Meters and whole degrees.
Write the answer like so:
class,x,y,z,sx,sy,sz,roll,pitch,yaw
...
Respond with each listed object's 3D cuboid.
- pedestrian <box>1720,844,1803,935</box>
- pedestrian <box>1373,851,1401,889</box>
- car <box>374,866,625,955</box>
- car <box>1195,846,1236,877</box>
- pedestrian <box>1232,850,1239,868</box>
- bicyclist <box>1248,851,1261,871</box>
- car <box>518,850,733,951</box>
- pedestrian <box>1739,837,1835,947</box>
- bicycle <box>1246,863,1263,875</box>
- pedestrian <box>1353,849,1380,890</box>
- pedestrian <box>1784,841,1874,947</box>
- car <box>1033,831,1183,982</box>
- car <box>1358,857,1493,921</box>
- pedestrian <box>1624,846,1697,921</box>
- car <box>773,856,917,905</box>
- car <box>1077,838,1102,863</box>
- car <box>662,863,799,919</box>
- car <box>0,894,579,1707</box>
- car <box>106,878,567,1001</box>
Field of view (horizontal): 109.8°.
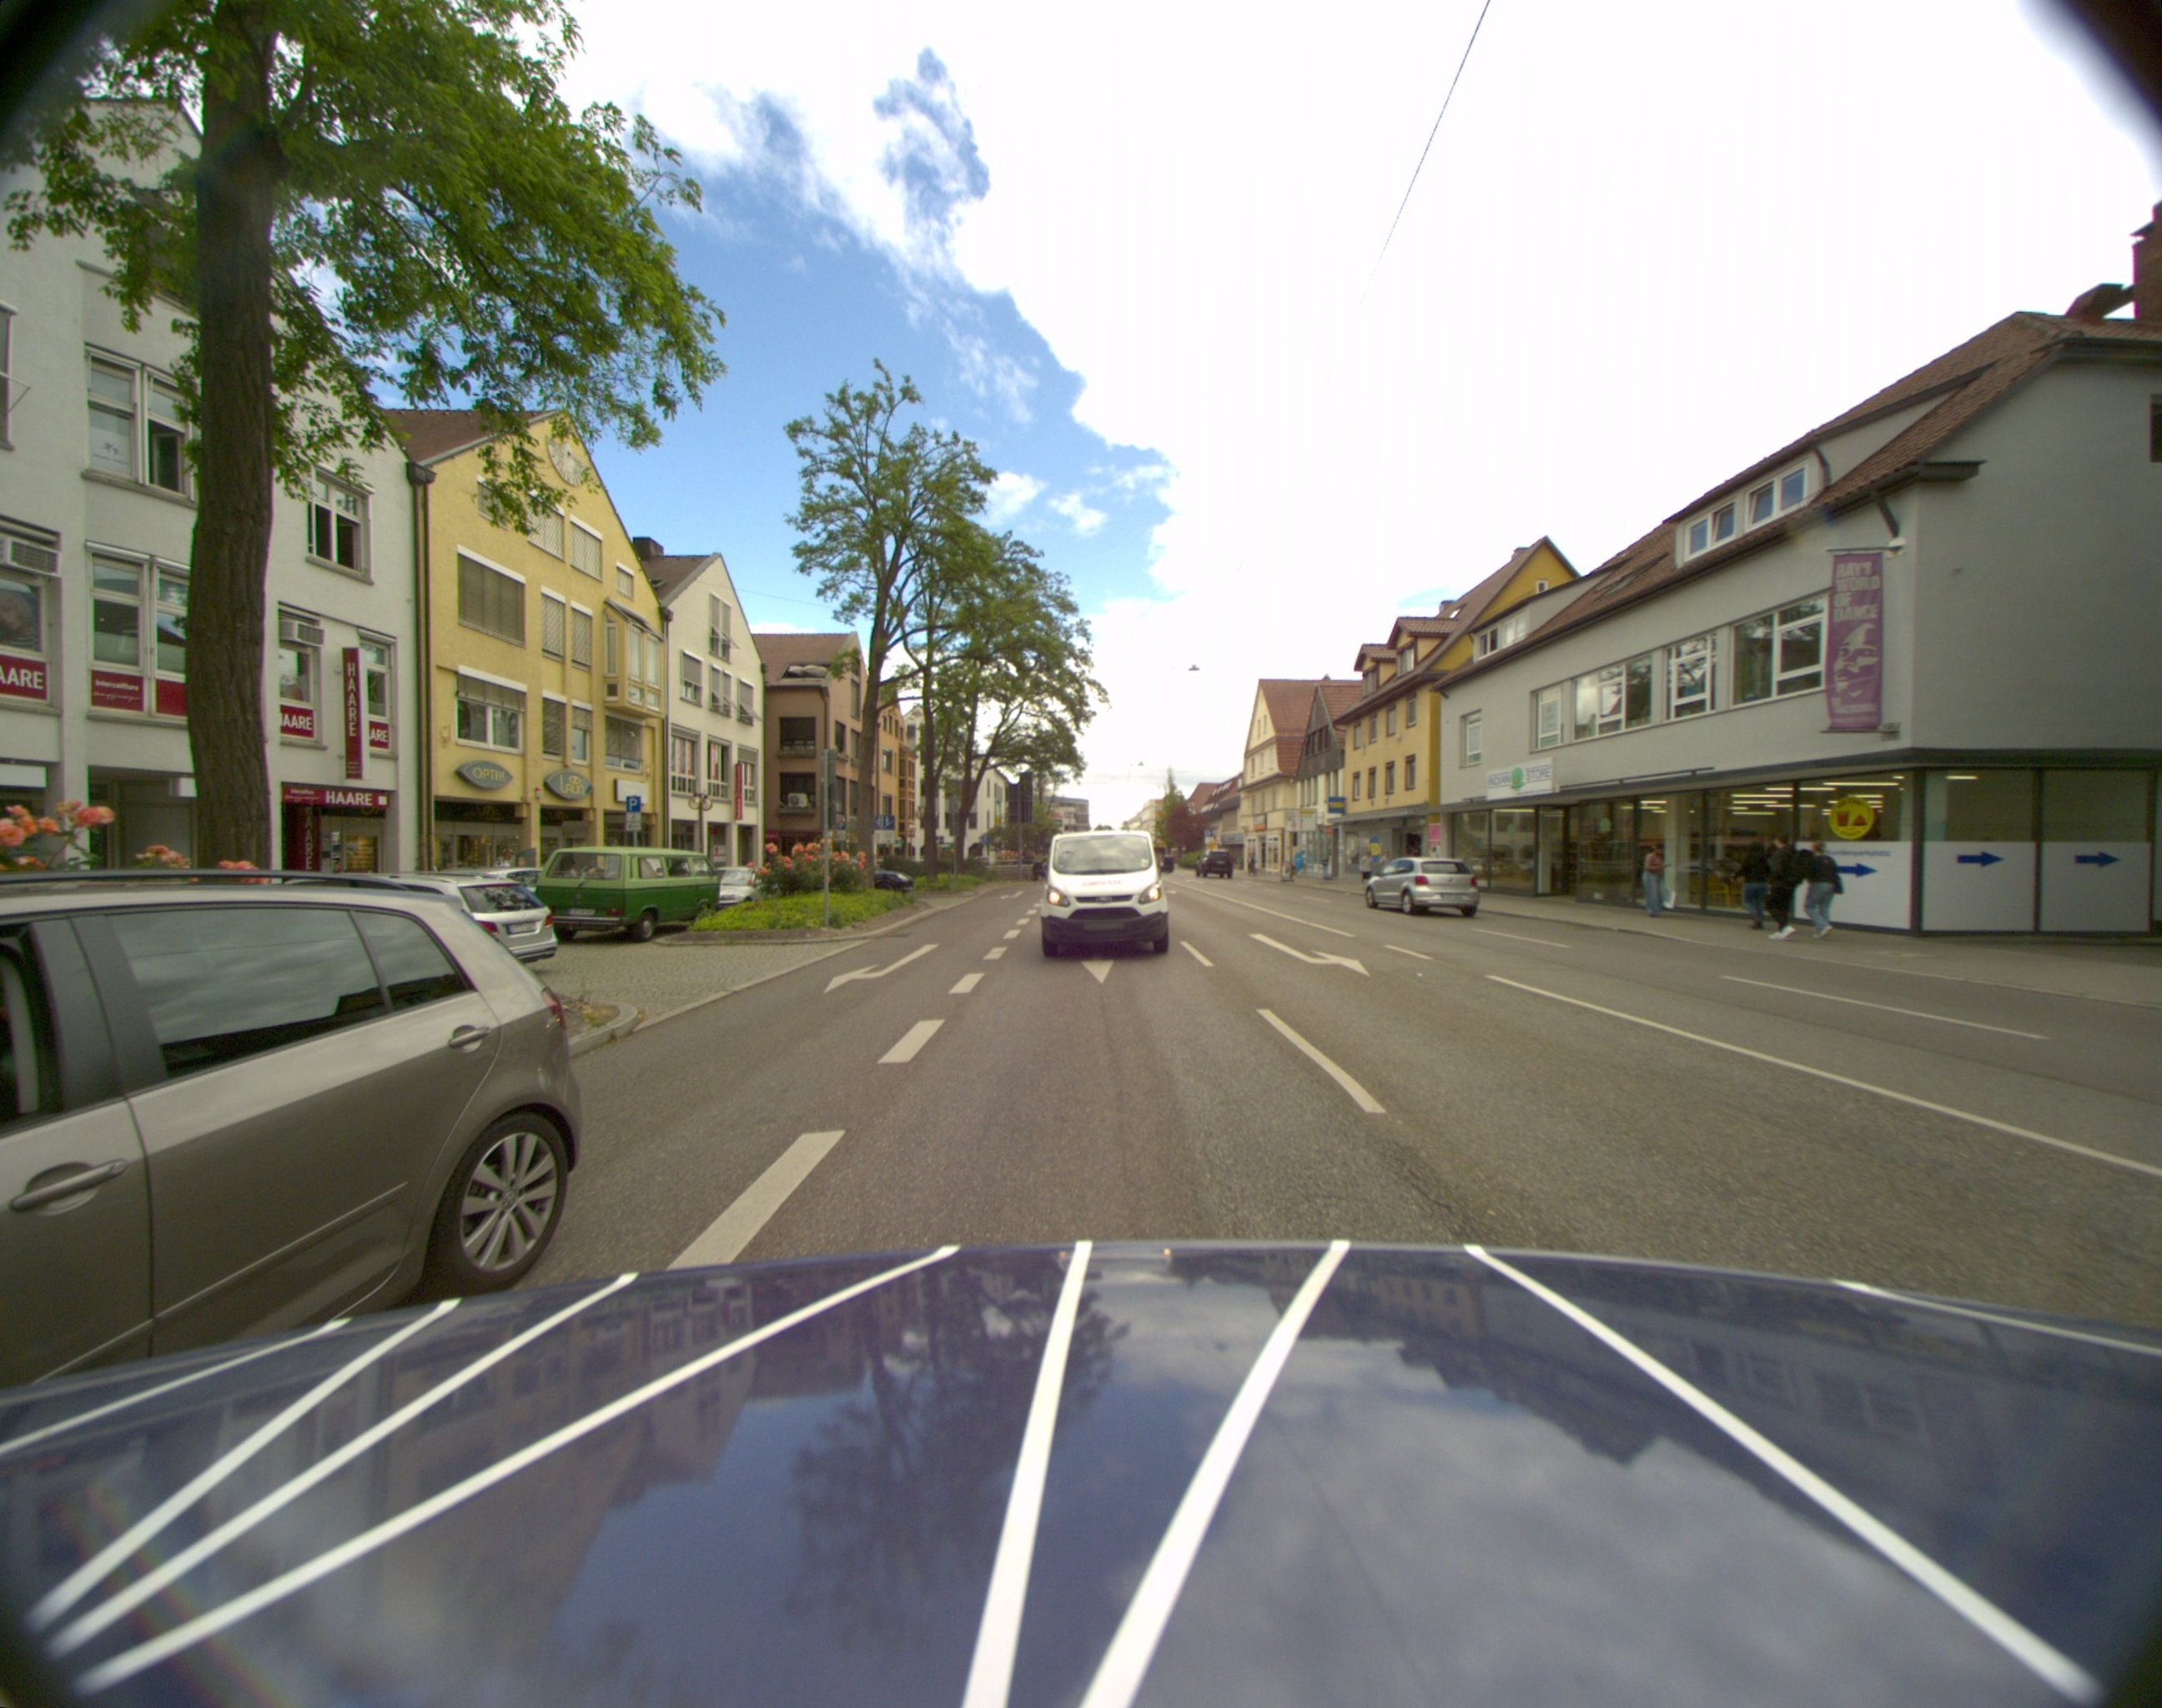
class,x,y,z,sx,sy,sz,roll,pitch,yaw
pedestrian,13.056,0.663,14.610,0.805,1.688,0.870,0,1,2
pedestrian,12.734,0.660,31.629,0.812,1.574,0.920,0,1,2
car,-12.343,1.101,16.652,1.999,1.538,4.752,1,1,-2
car,9.156,0.500,51.995,1.928,1.957,4.769,1,0,0
pedestrian,16.859,0.534,82.922,0.673,1.891,0.678,0,1,1
bicyclist,12.446,0.504,54.553,0.773,1.415,0.752,0,1,0
car,-9.767,0.882,16.844,1.999,1.865,4.752,1,1,-2
pedestrian,12.170,0.636,13.132,0.708,1.828,1.028,0,1,2
bicycle,12.439,1.070,54.556,0.773,0.818,2.240,0,0,0
pedestrian,11.853,0.636,31.576,0.812,1.651,0.920,0,1,2
pedestrian,12.917,0.676,13.146,0.708,1.771,0.870,0,1,2
car,0.408,0.702,13.114,1.940,1.968,5.780,-2,0,1
car,8.875,0.841,19.973,1.763,1.440,4.035,0,1,1
pedestrian,13.145,0.663,17.267,1.001,1.657,0.872,0,1,2
car,-8.488,0.943,27.733,4.753,1.669,1.999,1,0,-8
car,0.727,-0.291,63.904,1.940,1.968,5.780,-2,0,1
car,-9.941,0.990,22.006,1.843,1.302,4.752,1,1,-1
car,-3.038,0.961,1.212,1.802,1.521,3.999,-2,0,-1
car,-9.995,1.107,10.470,4.649,1.445,1.740,1,0,0
